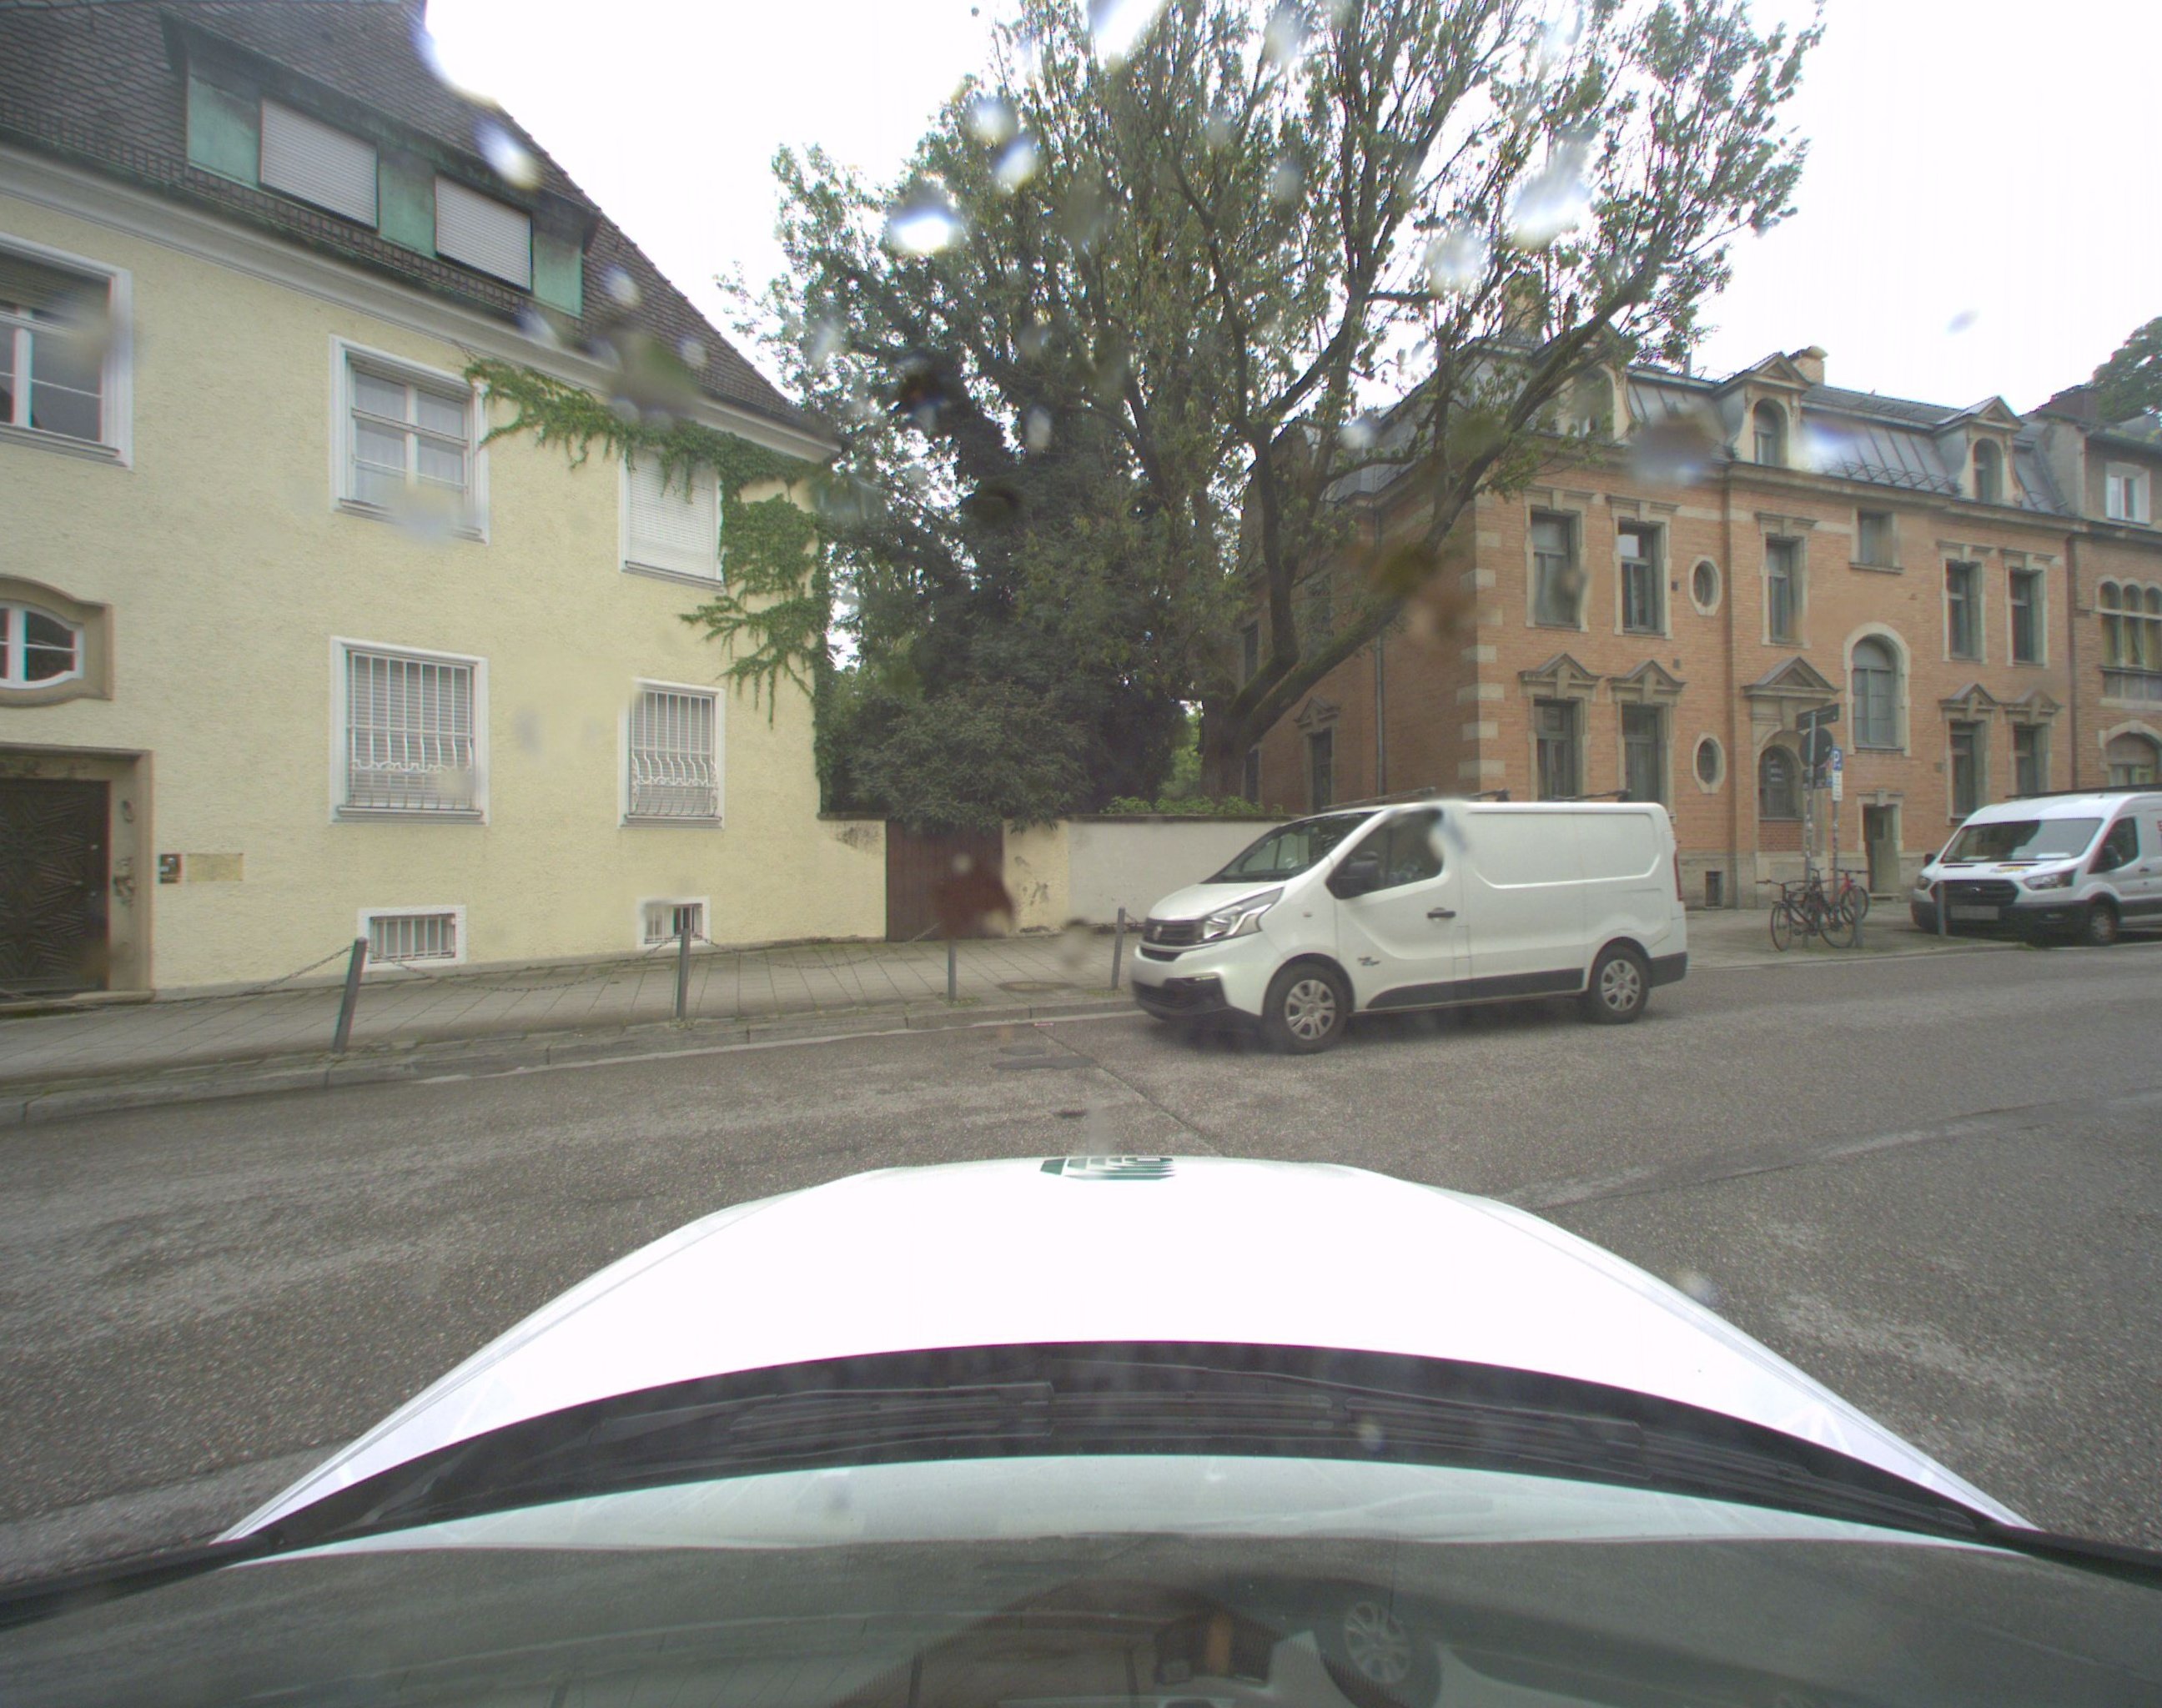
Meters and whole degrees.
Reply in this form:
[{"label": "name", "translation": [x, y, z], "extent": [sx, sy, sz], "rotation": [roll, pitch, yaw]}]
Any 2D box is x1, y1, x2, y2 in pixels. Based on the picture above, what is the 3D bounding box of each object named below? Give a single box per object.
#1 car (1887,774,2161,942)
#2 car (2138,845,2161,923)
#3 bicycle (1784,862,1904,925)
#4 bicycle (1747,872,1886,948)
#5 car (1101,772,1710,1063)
[{"label": "car", "translation": [16.674, 0.080, 13.627], "extent": [5.462, 2.468, 1.988], "rotation": [0, -2, -15]}, {"label": "car", "translation": [22.368, 0.516, 15.249], "extent": [3.990, 1.455, 1.685], "rotation": [-1, -3, -15]}, {"label": "bicycle", "translation": [13.529, 0.687, 14.448], "extent": [1.889, 1.054, 0.579], "rotation": [0, 0, -11]}, {"label": "bicycle", "translation": [10.795, 0.797, 11.968], "extent": [1.757, 1.054, 0.579], "rotation": [0, -1, -11]}, {"label": "car", "translation": [2.858, 0.444, 7.441], "extent": [4.953, 2.042, 2.034], "rotation": [-1, -2, -17]}]
